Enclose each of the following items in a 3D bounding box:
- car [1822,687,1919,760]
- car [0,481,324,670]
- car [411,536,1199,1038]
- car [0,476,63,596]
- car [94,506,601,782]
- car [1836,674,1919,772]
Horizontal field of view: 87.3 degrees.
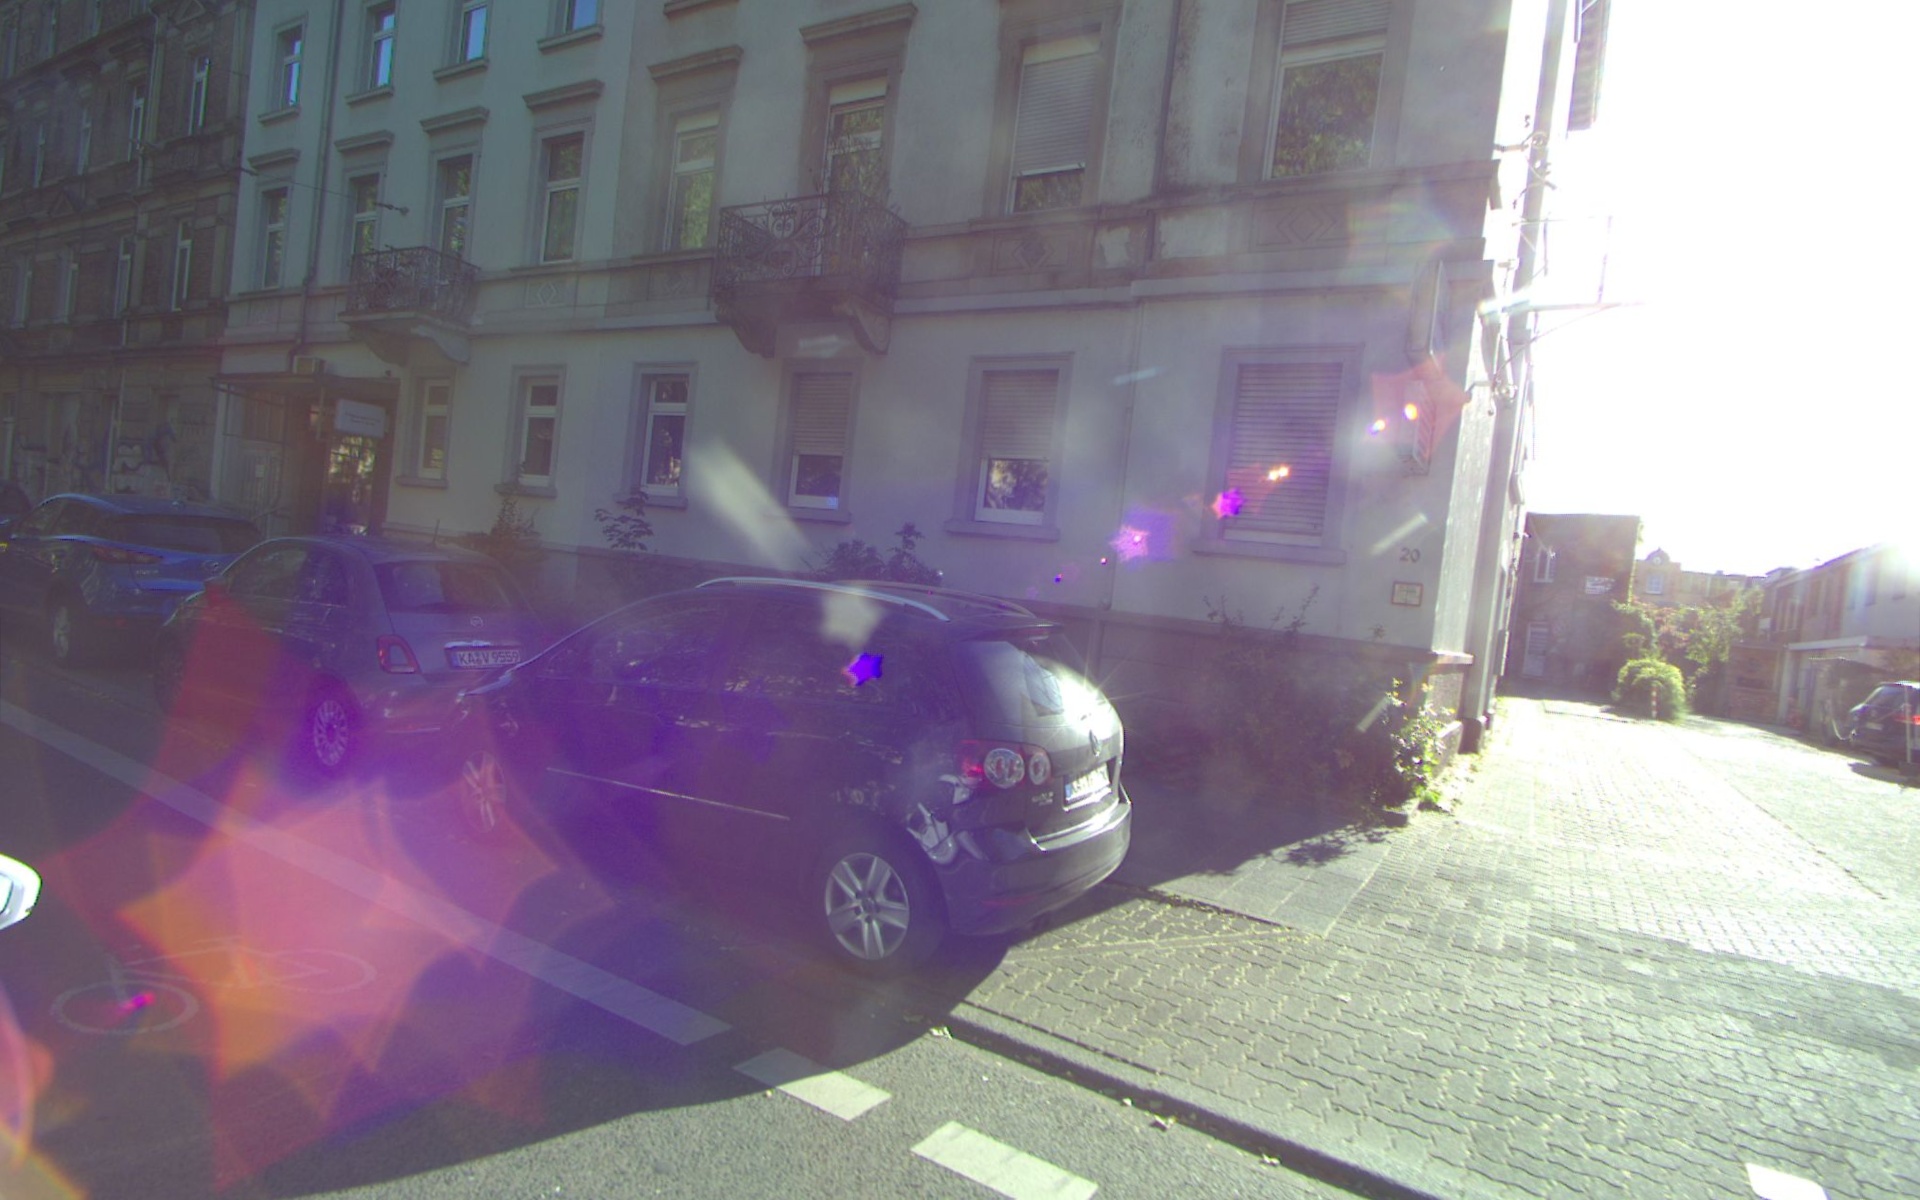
[{"bbox_3d":[21.383,2.848,22.105,3.393,1.319,1.575,7,2,33],"label":"car"},{"bbox_3d":[-8.472,-0.346,10.234,3.960,1.477,1.878,7,4,33],"label":"car"},{"bbox_3d":[-0.944,0.631,5.482,3.867,1.608,1.879,7,4,31],"label":"car"},{"bbox_3d":[-13.790,-0.976,13.414,3.701,1.504,1.710,7,4,31],"label":"car"},{"bbox_3d":[-4.775,0.178,7.749,3.705,1.477,1.798,7,4,31],"label":"car"},{"bbox_3d":[18.041,2.348,17.737,3.516,1.567,1.620,7,2,31],"label":"car"}]
